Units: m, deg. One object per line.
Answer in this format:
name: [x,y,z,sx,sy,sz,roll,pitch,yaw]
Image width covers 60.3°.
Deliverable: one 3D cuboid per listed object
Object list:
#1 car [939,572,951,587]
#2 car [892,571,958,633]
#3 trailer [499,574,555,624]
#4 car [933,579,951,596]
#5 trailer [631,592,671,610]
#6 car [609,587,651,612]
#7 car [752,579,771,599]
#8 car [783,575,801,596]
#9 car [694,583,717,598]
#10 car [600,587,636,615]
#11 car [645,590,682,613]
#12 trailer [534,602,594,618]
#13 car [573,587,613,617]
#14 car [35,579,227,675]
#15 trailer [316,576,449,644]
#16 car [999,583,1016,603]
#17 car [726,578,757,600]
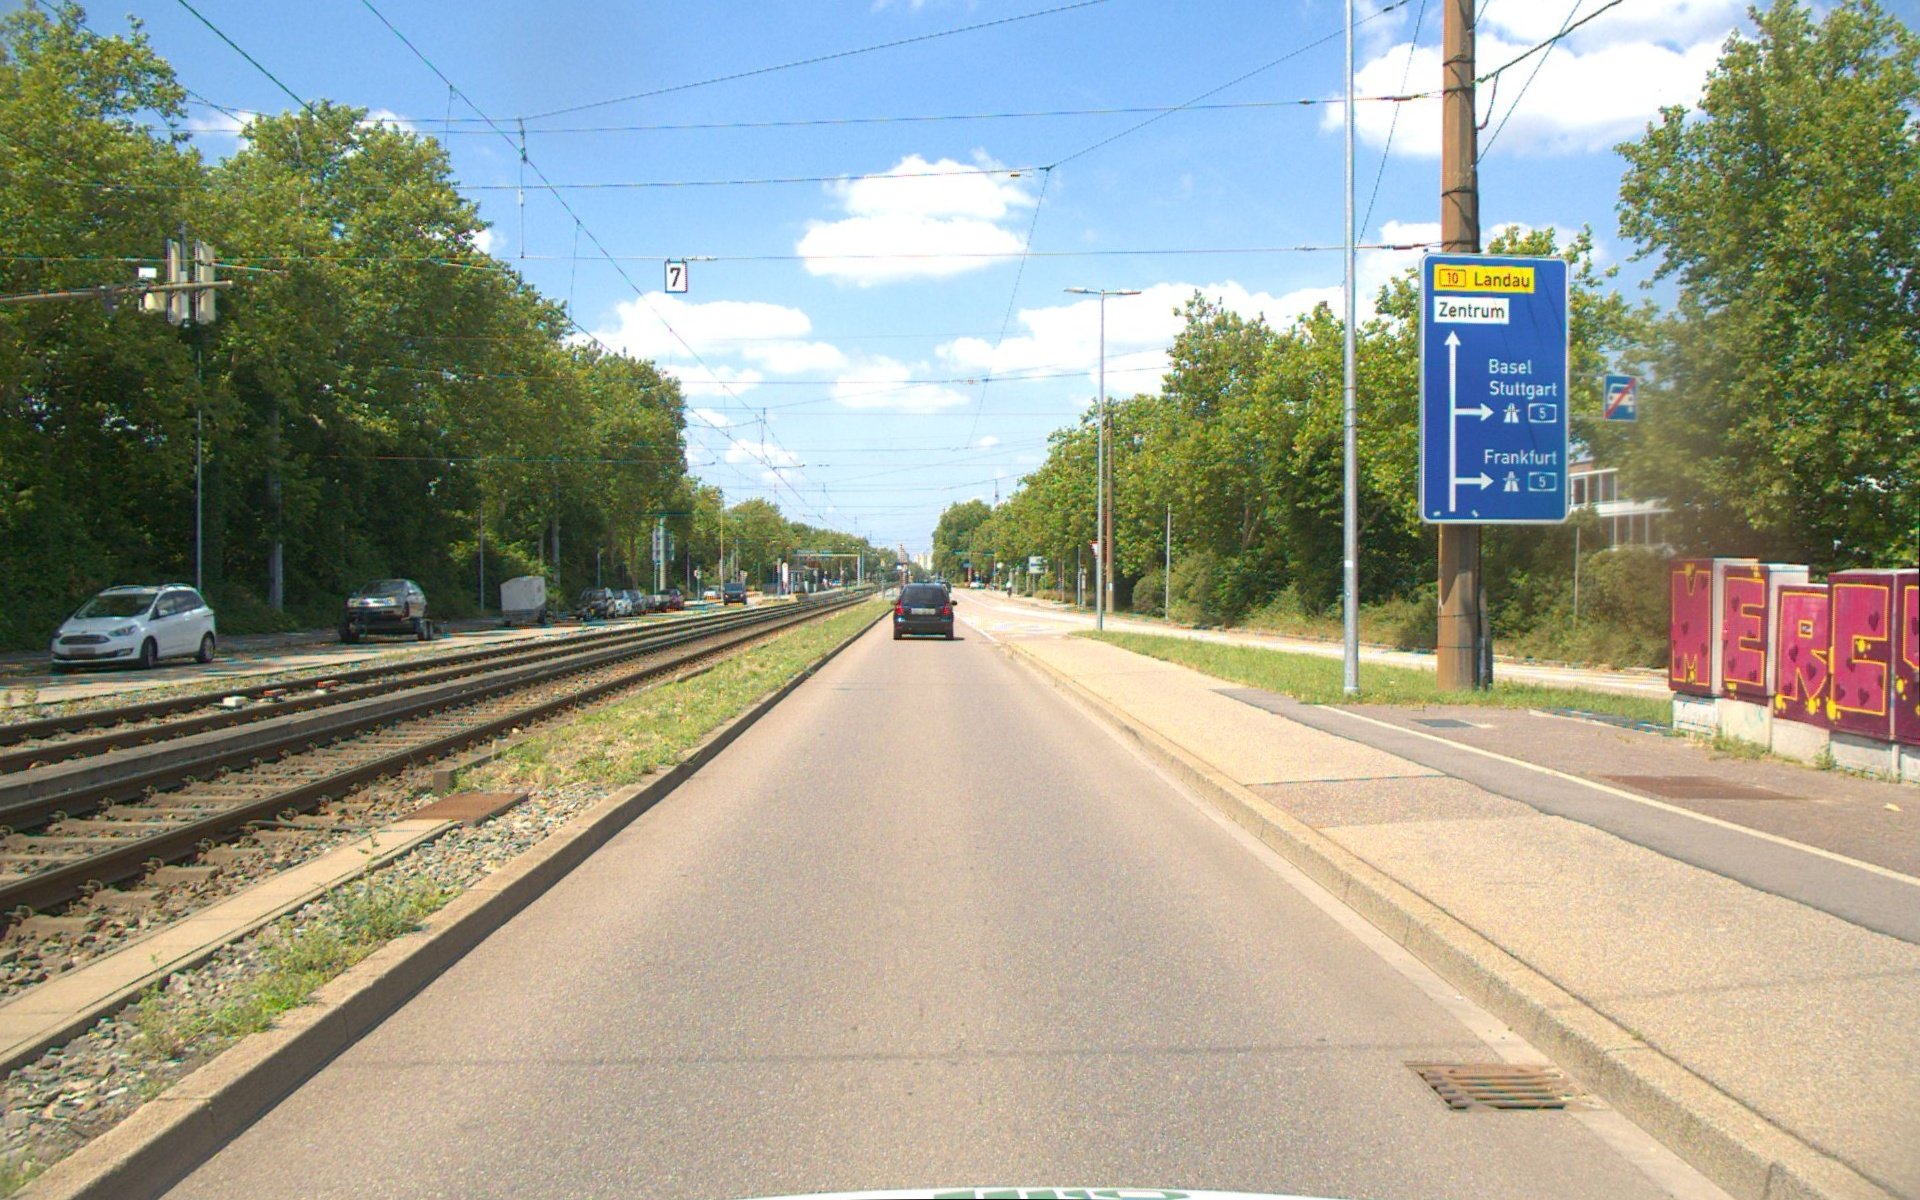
car: [-2.183,-2.998,242.495,1.750,2.048,4.000,1,2,-1]
car: [-1.005,0.026,48.194,1.815,1.597,4.388,1,2,-1]
trailer: [-18.343,-0.076,70.226,1.578,2.048,3.913,1,1,-4]
car: [-1.999,-1.429,183.787,1.846,1.668,4.000,3,2,-1]
trailer: [-19.794,0.031,106.053,1.855,1.062,5.101,1,1,-3]
car: [-19.326,-0.033,97.018,1.833,1.425,4.415,0,1,-3]
car: [-22.001,-1.262,183.610,1.955,2.048,3.996,1,1,-6]
car: [-17.306,-1.534,170.388,1.554,2.048,4.108,1,2,-3]
car: [-28.748,-1.071,186.848,1.953,1.601,3.999,0,1,-1]
car: [-18.870,0.033,91.389,1.405,1.476,3.739,0,0,-3]
car: [-20.615,0.084,115.118,1.953,1.601,3.999,0,1,-2]
trailer: [-18.489,0.461,77.380,1.953,0.755,3.998,0,0,-2]
car: [-18.874,0.101,85.170,1.405,1.476,3.919,0,0,-3]
car: [-16.927,0.493,34.045,1.685,1.659,4.615,-3,2,-2]
trailer: [-17.265,0.249,49.807,2.414,1.922,5.955,0,1,-6]
car: [5.247,-0.767,181.877,1.580,2.048,3.439,1,2,-2]
car: [-18.718,-0.985,141.676,2.074,1.821,5.403,0,1,-2]
